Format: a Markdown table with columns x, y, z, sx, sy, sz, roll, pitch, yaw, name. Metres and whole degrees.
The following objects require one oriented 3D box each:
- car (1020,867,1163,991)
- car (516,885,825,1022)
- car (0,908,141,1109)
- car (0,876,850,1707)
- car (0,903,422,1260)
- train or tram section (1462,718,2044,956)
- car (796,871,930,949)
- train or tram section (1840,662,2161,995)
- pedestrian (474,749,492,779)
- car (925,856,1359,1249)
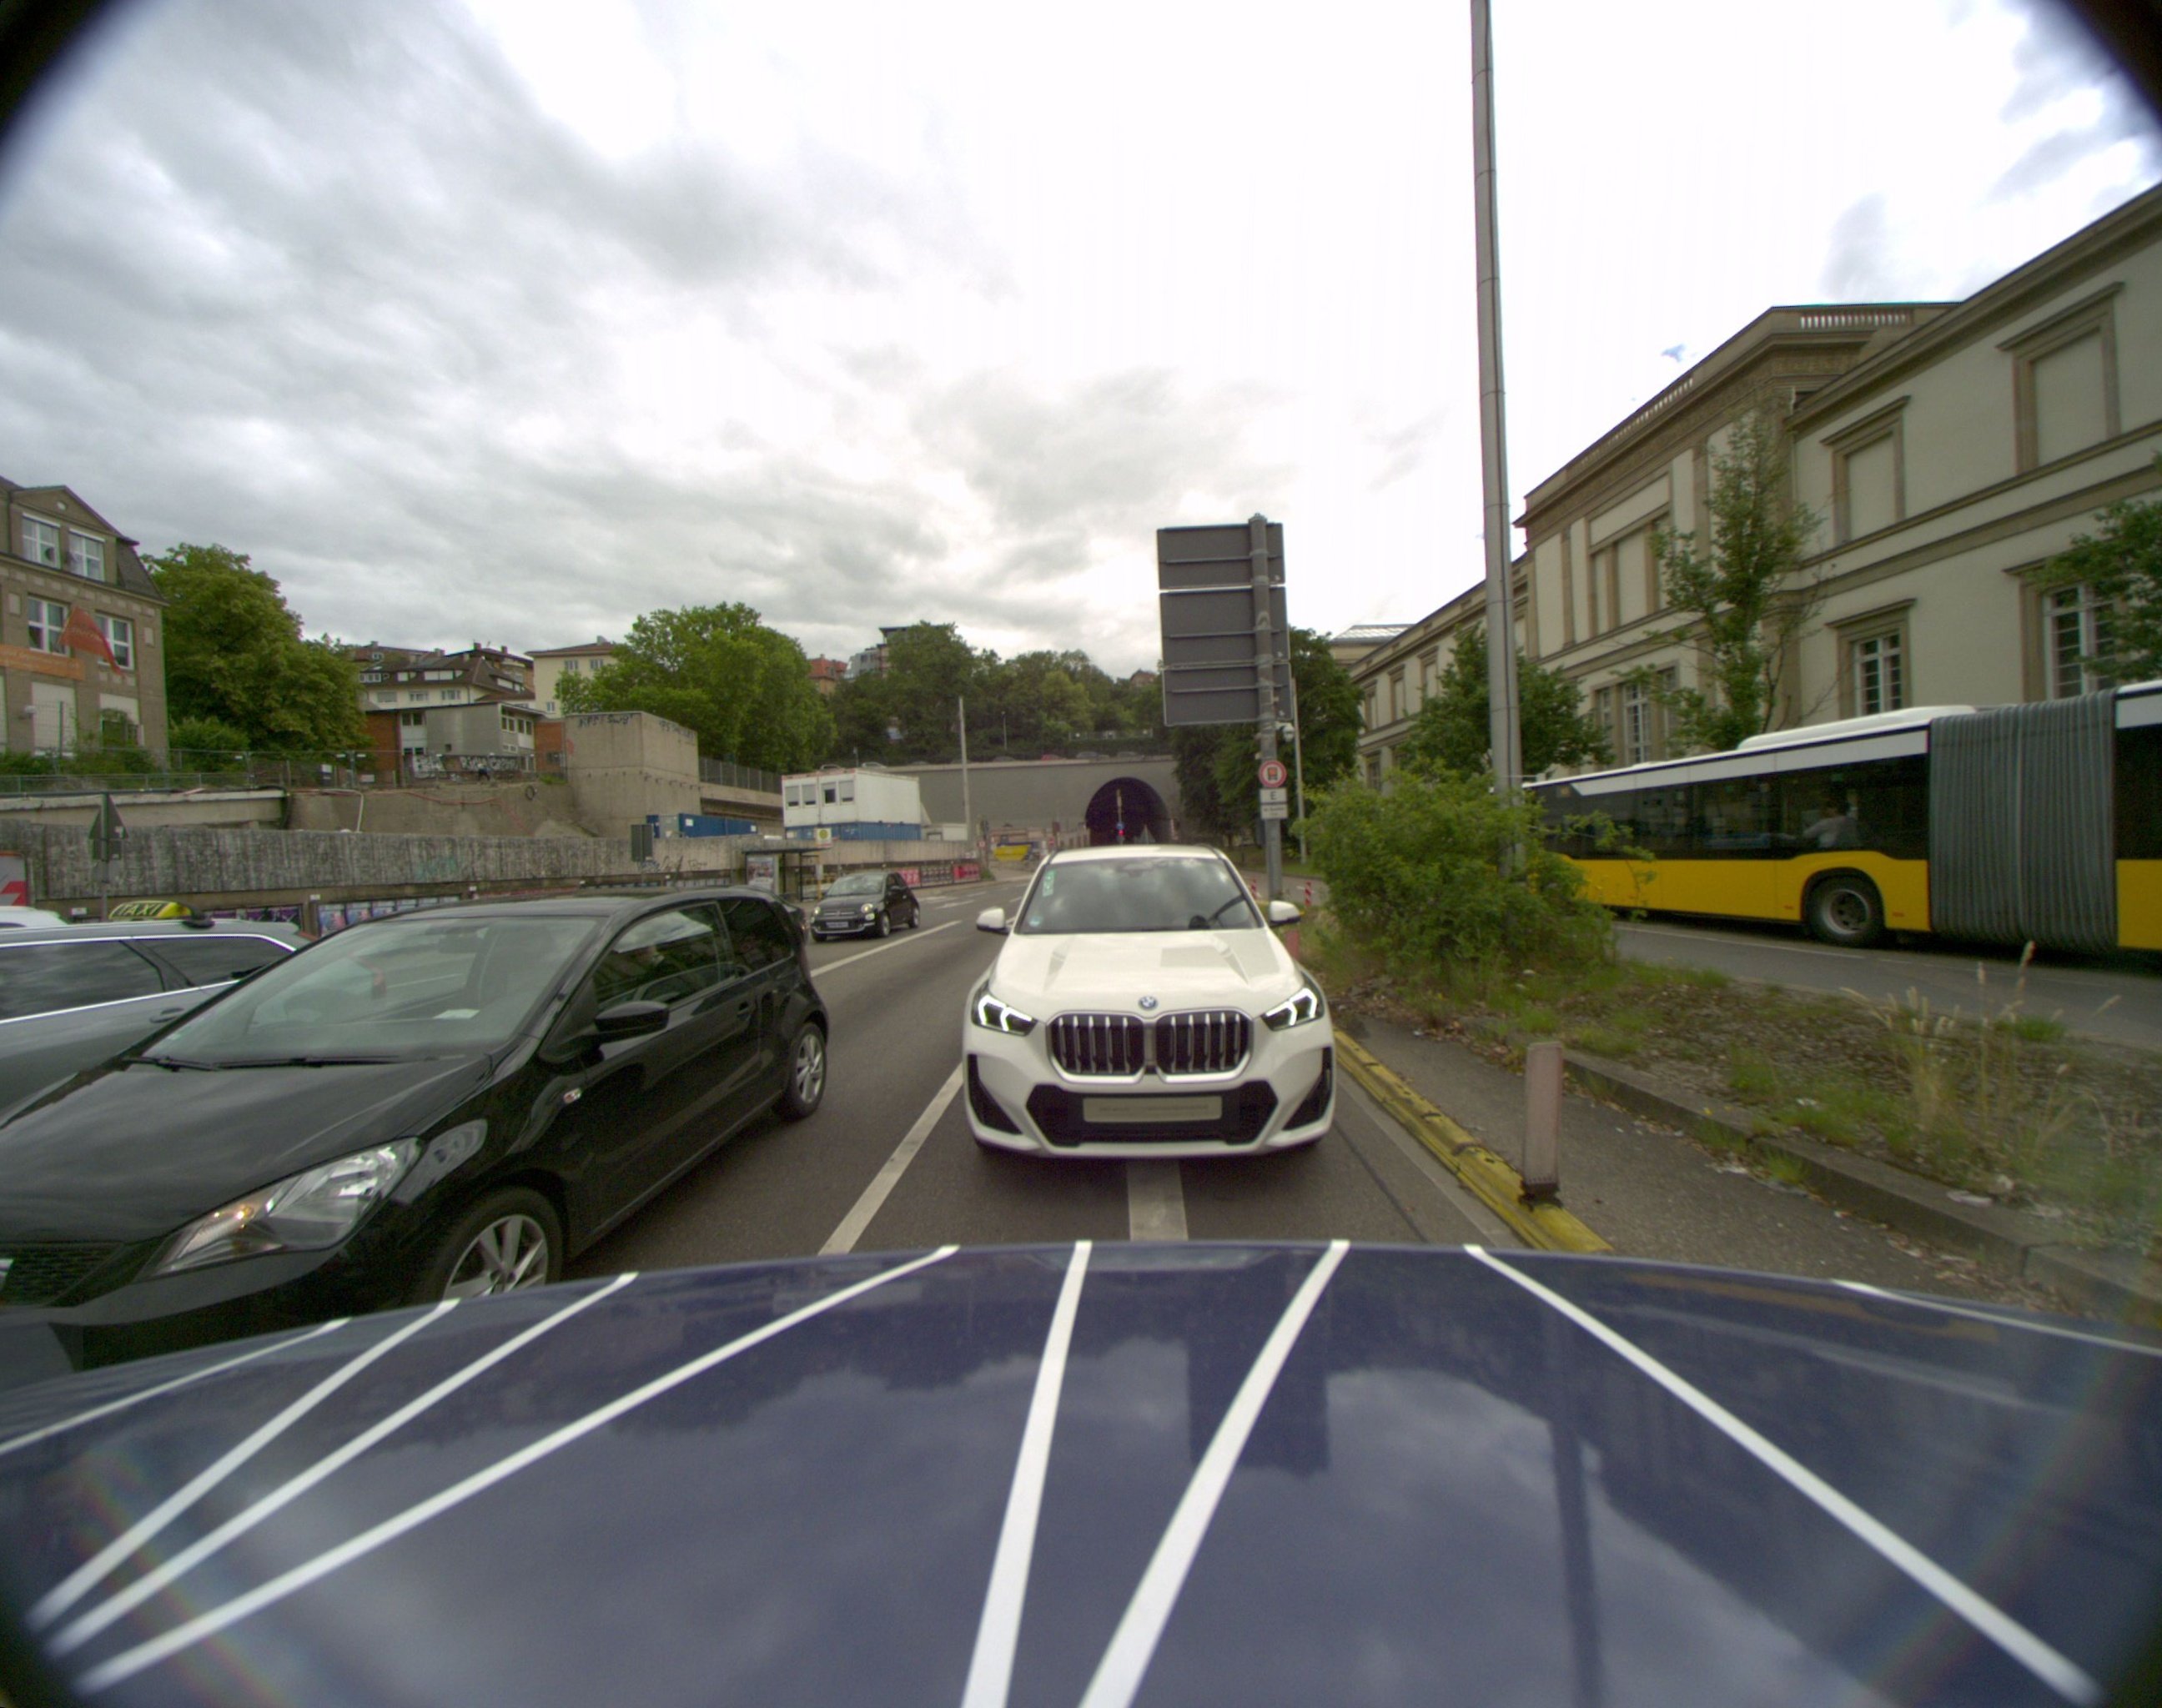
| x | y | z | sx | sy | sz | roll | pitch | yaw | name |
| --- | --- | --- | --- | --- | --- | --- | --- | --- | --- |
| 0.216 | 0.991 | 11.608 | 1.756 | 1.427 | 3.911 | -2 | 0 | 3 | car |
| -5.404 | 1.227 | 10.770 | 1.826 | 1.356 | 4.219 | -2 | 0 | 4 | car |
| -9.155 | 1.259 | 4.588 | 1.826 | 1.457 | 4.073 | -2 | 1 | 0 | car |
| -2.534 | 0.979 | 3.285 | 1.661 | 1.547 | 3.911 | -2 | 1 | 3 | car |
| -5.829 | 1.143 | 3.464 | 1.826 | 1.457 | 4.217 | -2 | 1 | 2 | car |
| 11.145 | -0.225 | 14.604 | 2.701 | 3.053 | 9.375 | -1 | 0 | -1 | train or tram section |
| -4.886 | 1.197 | 17.616 | 1.720 | 1.450 | 3.782 | -3 | 0 | 4 | car |
| 11.241 | -0.253 | 5.237 | 2.700 | 3.053 | 9.336 | -1 | 0 | 0 | train or tram section |
| -36.817 | -5.516 | 46.761 | 0.554 | 1.784 | 0.569 | -2 | 1 | 3 | pedestrian |
| 0.335 | 0.848 | 5.132 | 1.756 | 1.547 | 3.911 | -2 | 1 | 3 | car |
